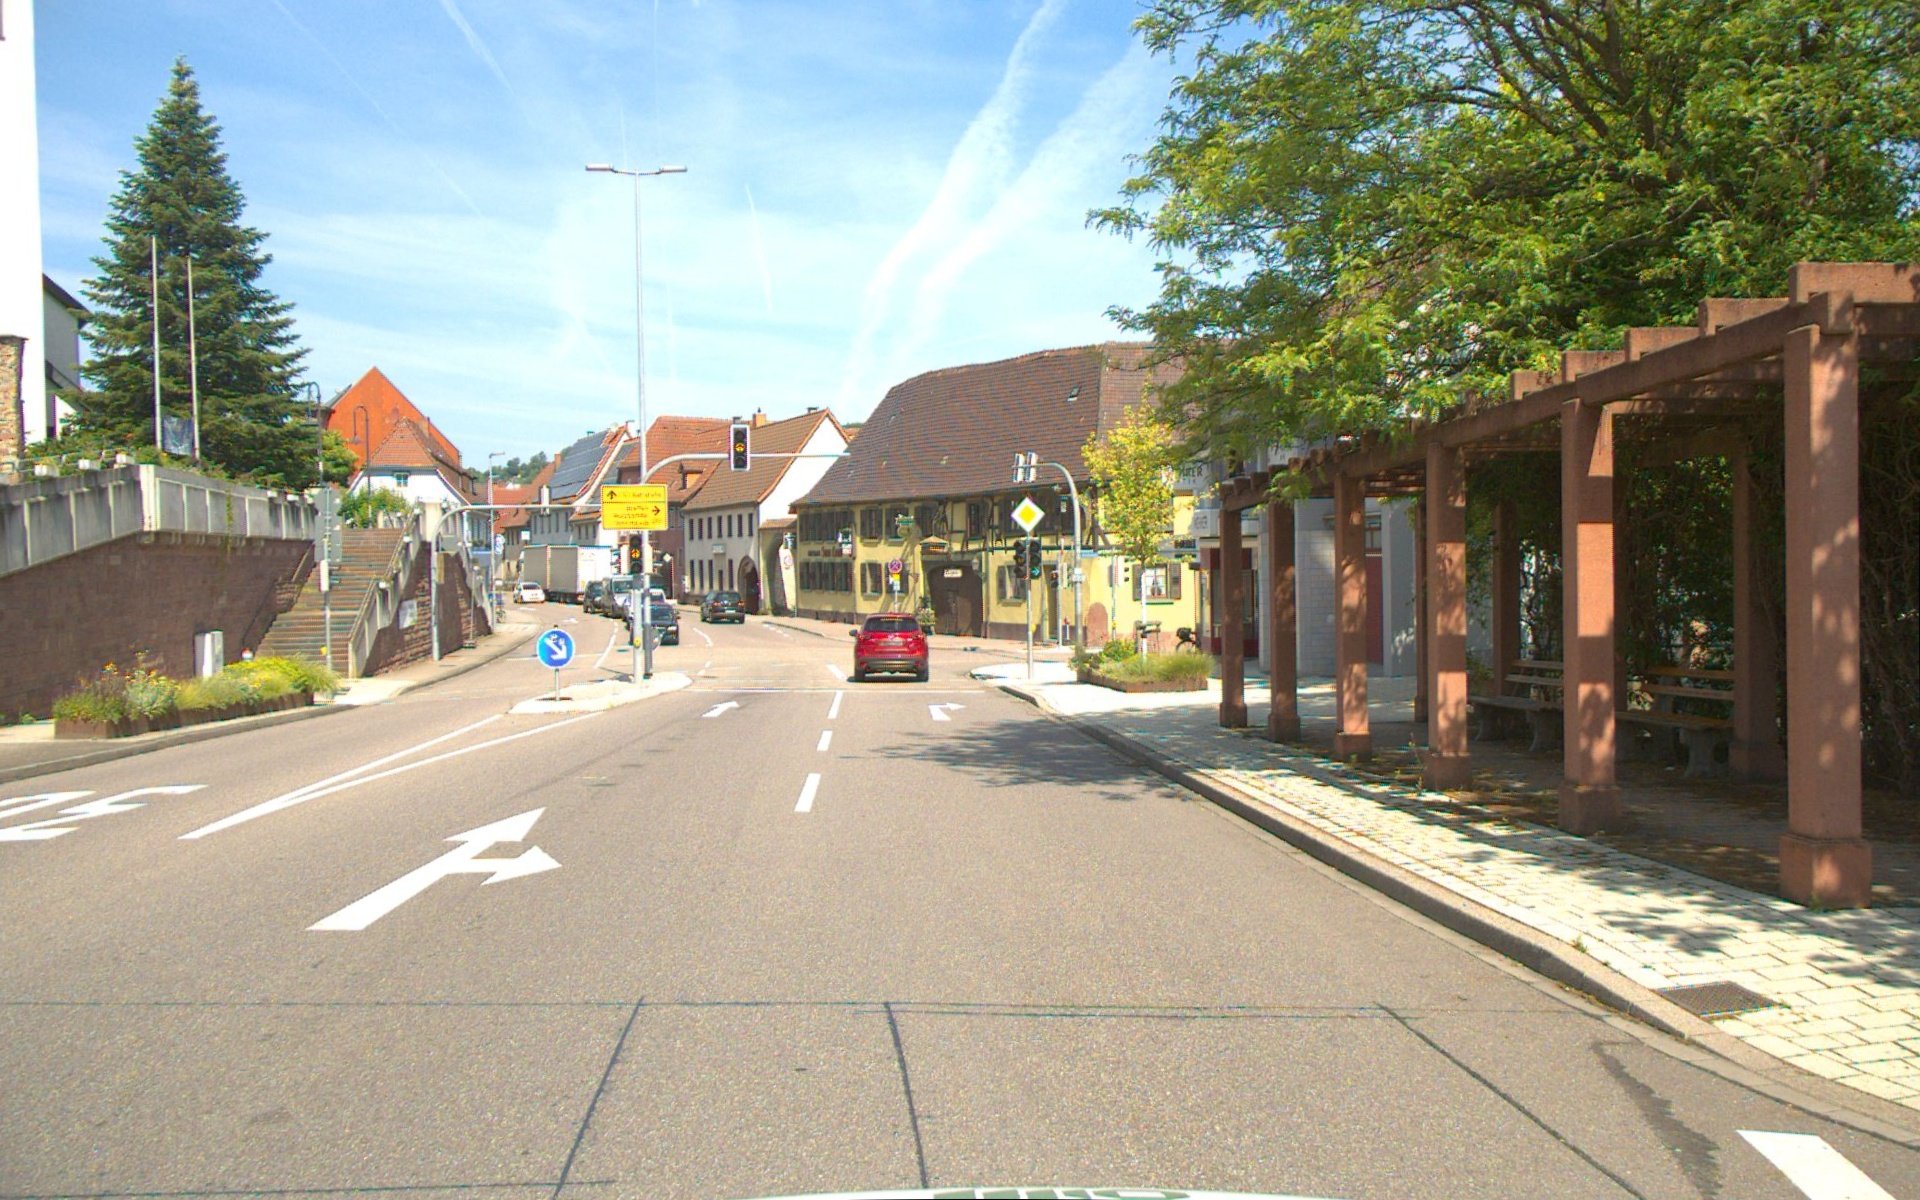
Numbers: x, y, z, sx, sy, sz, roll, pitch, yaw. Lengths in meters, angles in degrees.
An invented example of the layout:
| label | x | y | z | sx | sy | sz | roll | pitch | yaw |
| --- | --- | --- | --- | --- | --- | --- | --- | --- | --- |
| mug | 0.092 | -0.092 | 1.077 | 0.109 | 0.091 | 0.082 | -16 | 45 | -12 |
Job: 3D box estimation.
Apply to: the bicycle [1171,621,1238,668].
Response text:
| label | x | y | z | sx | sy | sz | roll | pitch | yaw |
| --- | --- | --- | --- | --- | --- | --- | --- | --- | --- |
| bicycle | 6.890 | 1.241 | 46.665 | 1.767 | 1.256 | 0.549 | -1 | 0 | -3 |

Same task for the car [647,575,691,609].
| label | x | y | z | sx | sy | sz | roll | pitch | yaw |
| --- | --- | --- | --- | --- | --- | --- | --- | --- | --- |
| car | -18.234 | -0.489 | 103.552 | 1.822 | 2.049 | 3.970 | 1 | 0 | -24 |

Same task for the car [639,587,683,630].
| label | x | y | z | sx | sy | sz | roll | pitch | yaw |
| --- | --- | --- | --- | --- | --- | --- | --- | --- | --- |
| car | -14.793 | 0.395 | 81.555 | 1.790 | 1.939 | 4.946 | -1 | 1 | -14 |

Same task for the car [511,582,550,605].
| label | x | y | z | sx | sy | sz | roll | pitch | yaw |
| --- | --- | --- | --- | --- | --- | --- | --- | --- | --- |
| car | -31.329 | -0.495 | 120.499 | 1.767 | 1.553 | 3.965 | -2 | 1 | -30 |

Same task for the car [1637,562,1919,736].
| label | x | y | z | sx | sy | sz | roll | pitch | yaw |
| --- | --- | --- | --- | --- | --- | --- | --- | --- | --- |
| car | 9.718 | 0.422 | 17.470 | 4.395 | 1.571 | 1.723 | -4 | -1 | -6 |

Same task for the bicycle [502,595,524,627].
| label | x | y | z | sx | sy | sz | roll | pitch | yaw |
| --- | --- | --- | --- | --- | --- | --- | --- | --- | --- |
| bicycle | -23.442 | 0.554 | 86.814 | 0.546 | 1.635 | 2.561 | 1 | 0 | -2 |

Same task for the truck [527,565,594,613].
| label | x | y | z | sx | sy | sz | roll | pitch | yaw |
| --- | --- | --- | --- | --- | --- | --- | --- | --- | --- |
| truck | -31.227 | -0.802 | 128.945 | 3.118 | 3.521 | 10.629 | 2 | -1 | -24 |

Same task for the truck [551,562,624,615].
| label | x | y | z | sx | sy | sz | roll | pitch | yaw |
| --- | --- | --- | --- | --- | --- | --- | --- | --- | --- |
| truck | -27.114 | -0.862 | 119.970 | 3.183 | 3.611 | 9.156 | 1 | 0 | -25 |

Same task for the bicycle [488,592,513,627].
| label | x | y | z | sx | sy | sz | roll | pitch | yaw |
| --- | --- | --- | --- | --- | --- | --- | --- | --- | --- |
| bicycle | -24.205 | 0.489 | 87.104 | 0.628 | 1.810 | 2.669 | 1 | 0 | -2 |

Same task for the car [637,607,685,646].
| label | x | y | z | sx | sy | sz | roll | pitch | yaw |
| --- | --- | --- | --- | --- | --- | --- | --- | --- | --- |
| car | -12.149 | 1.051 | 67.061 | 1.788 | 1.459 | 4.236 | -1 | 1 | -12 |

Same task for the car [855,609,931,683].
| label | x | y | z | sx | sy | sz | roll | pitch | yaw |
| --- | --- | --- | --- | --- | --- | --- | --- | --- | --- |
| car | -1.710 | 1.109 | 41.139 | 1.769 | 1.692 | 3.809 | 1 | 0 | -4 |

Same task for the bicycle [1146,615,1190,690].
| label | x | y | z | sx | sy | sz | roll | pitch | yaw |
| --- | --- | --- | --- | --- | --- | --- | --- | --- | --- |
| bicycle | 3.927 | 0.968 | 31.271 | 0.518 | 1.302 | 1.992 | -4 | 0 | 0 |

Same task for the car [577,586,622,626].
| label | x | y | z | sx | sy | sz | roll | pitch | yaw |
| --- | --- | --- | --- | --- | --- | --- | --- | --- | --- |
| car | -21.460 | 0.314 | 98.394 | 1.735 | 2.285 | 4.519 | 1 | 0 | -24 |

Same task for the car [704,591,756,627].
| label | x | y | z | sx | sy | sz | roll | pitch | yaw |
| --- | --- | --- | --- | --- | --- | --- | --- | --- | --- |
| car | -12.026 | 0.449 | 86.294 | 1.795 | 1.769 | 3.979 | -2 | 1 | -22 |
